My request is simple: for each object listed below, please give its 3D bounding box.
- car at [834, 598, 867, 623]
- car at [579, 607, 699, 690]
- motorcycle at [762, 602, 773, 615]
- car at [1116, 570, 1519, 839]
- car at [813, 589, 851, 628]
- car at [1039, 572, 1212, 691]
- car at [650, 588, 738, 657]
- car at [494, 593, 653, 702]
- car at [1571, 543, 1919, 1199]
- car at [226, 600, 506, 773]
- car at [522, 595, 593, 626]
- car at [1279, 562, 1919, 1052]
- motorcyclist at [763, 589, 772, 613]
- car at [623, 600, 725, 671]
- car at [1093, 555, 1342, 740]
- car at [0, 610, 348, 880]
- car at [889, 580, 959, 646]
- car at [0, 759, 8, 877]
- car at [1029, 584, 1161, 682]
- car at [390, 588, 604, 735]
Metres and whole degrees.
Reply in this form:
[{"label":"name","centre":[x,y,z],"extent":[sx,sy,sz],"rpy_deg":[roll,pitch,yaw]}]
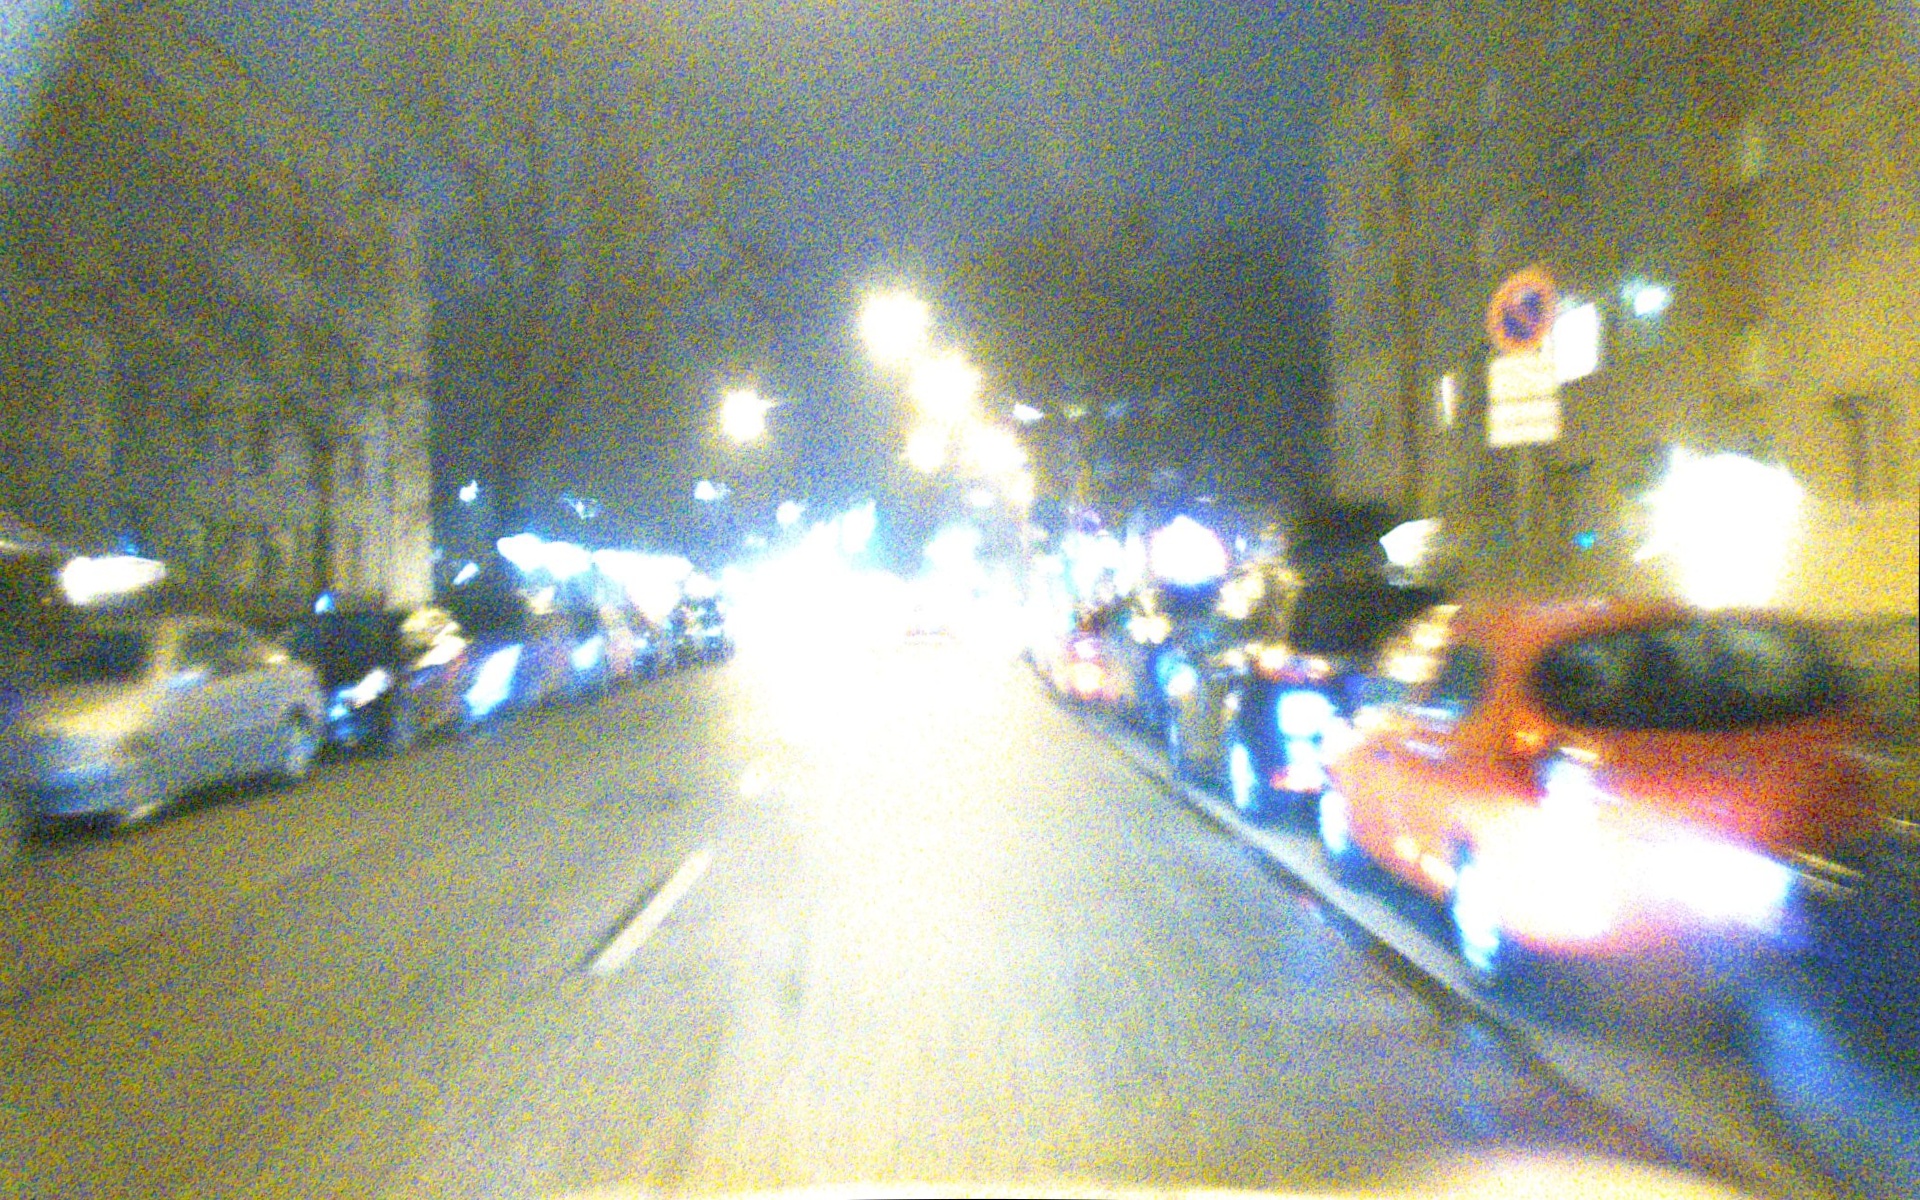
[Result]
[{"label":"car","centre":[-7.029,0.661,106.226],"extent":[1.783,1.569,4.718],"rpy_deg":[-2,0,-7]},{"label":"car","centre":[-6.324,0.919,32.973],"extent":[1.566,1.397,4.066],"rpy_deg":[-4,0,-1]},{"label":"motorcycle","centre":[-17.171,0.762,147.688],"extent":[0.687,1.158,2.175],"rpy_deg":[-2,1,0]},{"label":"car","centre":[2.427,0.622,12.631],"extent":[1.763,1.557,5.050],"rpy_deg":[-3,0,-2]},{"label":"car","centre":[-7.406,0.441,95.252],"extent":[1.995,1.987,5.195],"rpy_deg":[-4,1,-5]},{"label":"car","centre":[2.231,0.393,23.448],"extent":[1.786,1.446,4.486],"rpy_deg":[-3,0,-2]},{"label":"car","centre":[-6.894,0.547,43.194],"extent":[1.566,1.591,4.379],"rpy_deg":[-4,0,-1]},{"label":"car","centre":[-6.238,0.708,27.145],"extent":[1.566,1.512,4.273],"rpy_deg":[-4,0,-1]},{"label":"car","centre":[2.908,0.630,2.966],"extent":[1.719,1.574,4.977],"rpy_deg":[-3,0,0]},{"label":"car","centre":[-6.020,0.793,17.246],"extent":[1.567,1.456,4.002],"rpy_deg":[-4,0,-3]},{"label":"car","centre":[-20.038,0.502,82.487],"extent":[1.677,1.456,3.921],"rpy_deg":[-1,0,17]},{"label":"car","centre":[2.806,0.675,7.742],"extent":[1.787,1.574,4.353],"rpy_deg":[-3,0,1]},{"label":"motorcyclist","centre":[-17.195,0.081,147.656],"extent":[0.679,2.048,0.982],"rpy_deg":[-2,1,0]},{"label":"car","centre":[-6.521,0.768,38.065],"extent":[1.566,1.397,4.353],"rpy_deg":[-4,0,-1]},{"label":"car","centre":[2.624,0.433,17.918],"extent":[1.786,1.666,4.486],"rpy_deg":[-3,0,-2]},{"label":"car","centre":[-6.077,0.896,11.952],"extent":[1.605,1.482,4.930],"rpy_deg":[-4,0,-3]},{"label":"car","centre":[-1.174,0.407,53.482],"extent":[2.124,2.006,4.300],"rpy_deg":[-1,0,-2]},{"label":"car","centre":[-5.807,0.714,7.161],"extent":[1.445,1.647,3.372],"rpy_deg":[-4,0,-3]},{"label":"car","centre":[2.369,0.541,30.103],"extent":[1.786,1.557,4.781],"rpy_deg":[-3,0,-2]},{"label":"car","centre":[-5.950,0.716,21.743],"extent":[1.566,1.632,4.257],"rpy_deg":[-4,0,-1]}]
